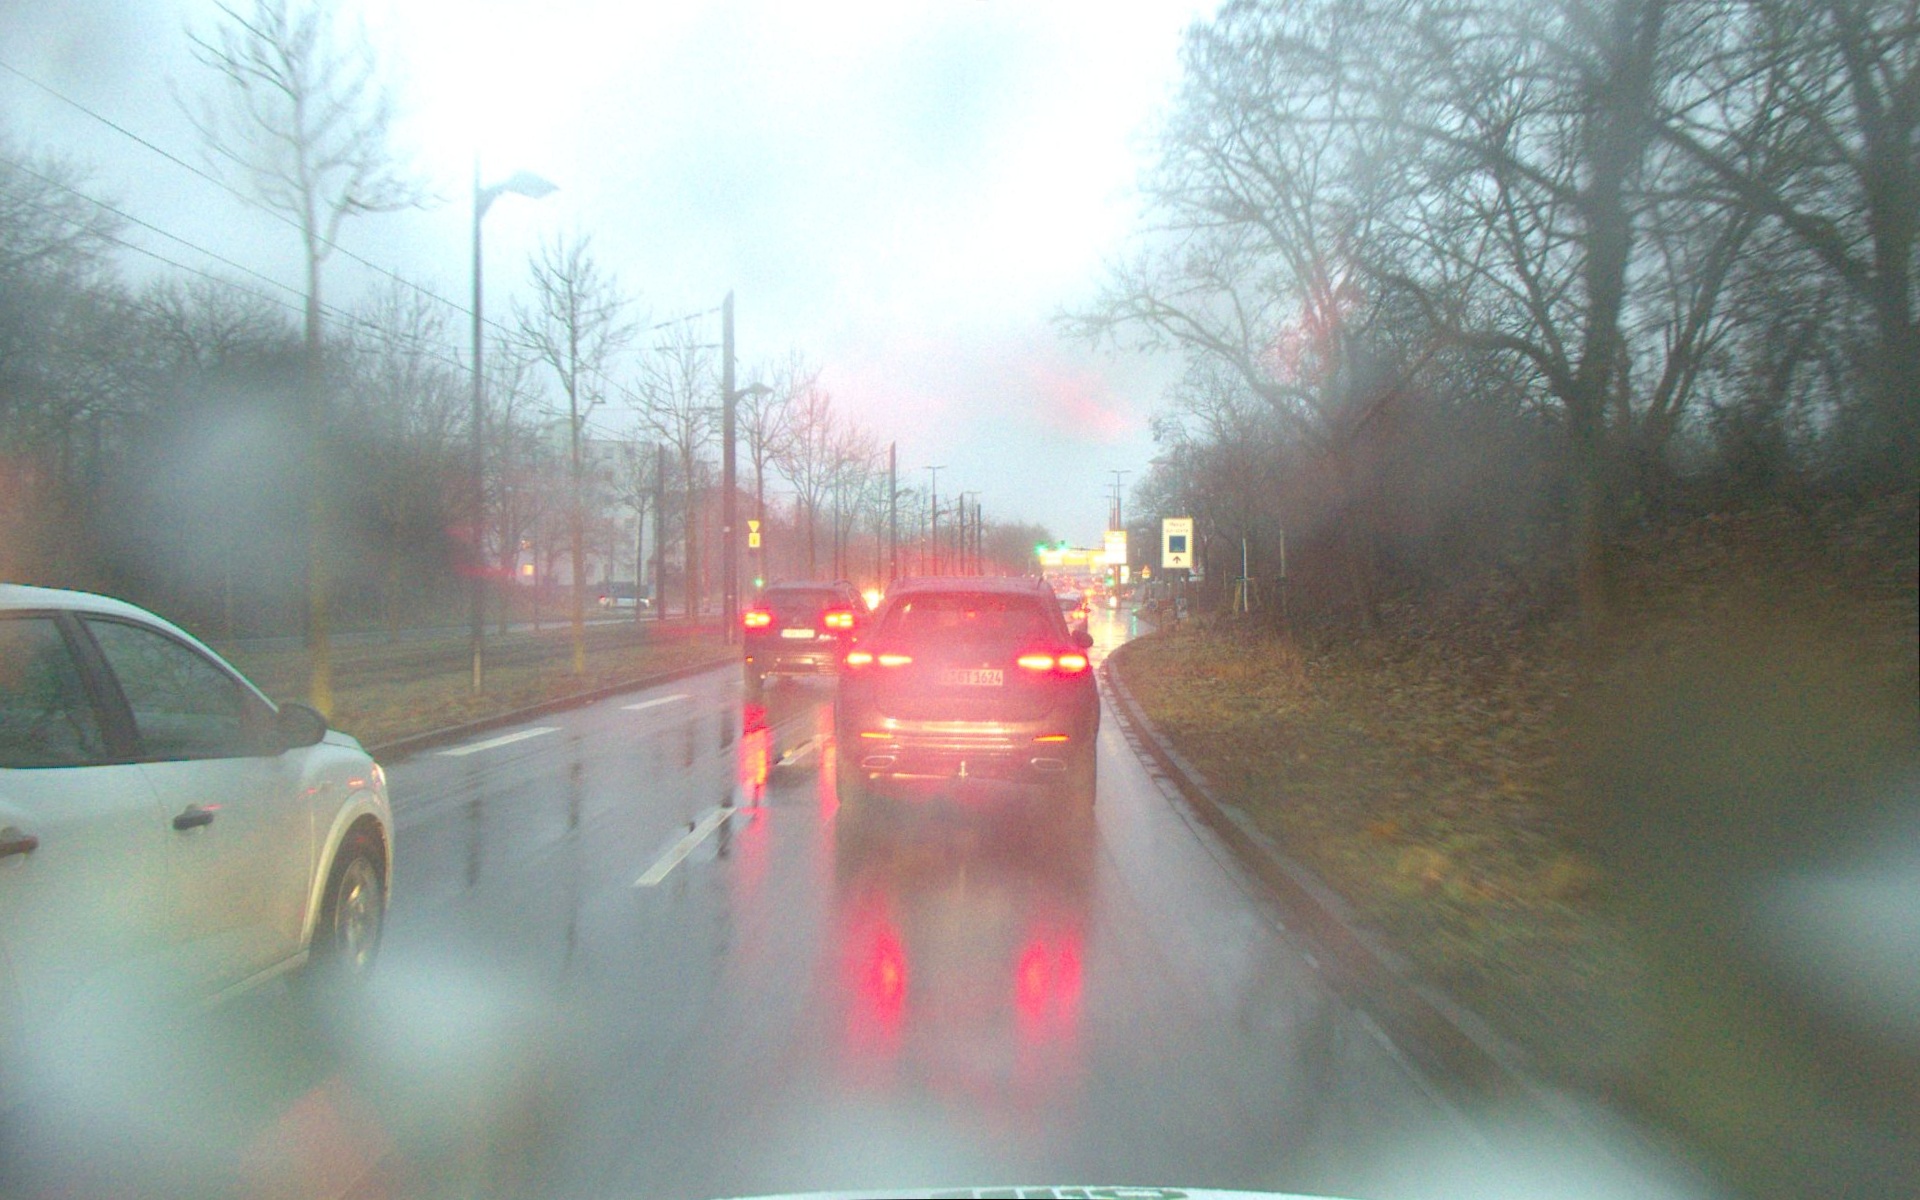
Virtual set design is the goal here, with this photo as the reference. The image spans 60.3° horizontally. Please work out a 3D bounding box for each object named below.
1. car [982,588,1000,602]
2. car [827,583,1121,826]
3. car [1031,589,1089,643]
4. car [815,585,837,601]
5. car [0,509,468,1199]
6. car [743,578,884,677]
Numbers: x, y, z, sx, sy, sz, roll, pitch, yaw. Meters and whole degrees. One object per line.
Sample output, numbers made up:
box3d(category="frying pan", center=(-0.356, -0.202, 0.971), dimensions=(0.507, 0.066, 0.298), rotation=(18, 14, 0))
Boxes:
box3d(category="car", center=(3.690, -0.619, 198.643), dimensions=(1.951, 1.695, 3.838), rotation=(0, 0, 4))
box3d(category="car", center=(0.083, 0.684, 13.070), dimensions=(1.957, 1.612, 4.000), rotation=(1, 0, 0))
box3d(category="car", center=(2.994, 0.455, 50.081), dimensions=(1.673, 1.585, 3.997), rotation=(0, 0, 3))
box3d(category="car", center=(-15.418, -0.800, 190.589), dimensions=(1.951, 1.687, 4.002), rotation=(1, 0, 4))
box3d(category="car", center=(-2.881, 0.578, 4.627), dimensions=(1.673, 1.551, 4.135), rotation=(0, 0, 1))
box3d(category="car", center=(-2.289, 0.385, 26.790), dimensions=(1.841, 1.485, 4.001), rotation=(0, 1, 1))
